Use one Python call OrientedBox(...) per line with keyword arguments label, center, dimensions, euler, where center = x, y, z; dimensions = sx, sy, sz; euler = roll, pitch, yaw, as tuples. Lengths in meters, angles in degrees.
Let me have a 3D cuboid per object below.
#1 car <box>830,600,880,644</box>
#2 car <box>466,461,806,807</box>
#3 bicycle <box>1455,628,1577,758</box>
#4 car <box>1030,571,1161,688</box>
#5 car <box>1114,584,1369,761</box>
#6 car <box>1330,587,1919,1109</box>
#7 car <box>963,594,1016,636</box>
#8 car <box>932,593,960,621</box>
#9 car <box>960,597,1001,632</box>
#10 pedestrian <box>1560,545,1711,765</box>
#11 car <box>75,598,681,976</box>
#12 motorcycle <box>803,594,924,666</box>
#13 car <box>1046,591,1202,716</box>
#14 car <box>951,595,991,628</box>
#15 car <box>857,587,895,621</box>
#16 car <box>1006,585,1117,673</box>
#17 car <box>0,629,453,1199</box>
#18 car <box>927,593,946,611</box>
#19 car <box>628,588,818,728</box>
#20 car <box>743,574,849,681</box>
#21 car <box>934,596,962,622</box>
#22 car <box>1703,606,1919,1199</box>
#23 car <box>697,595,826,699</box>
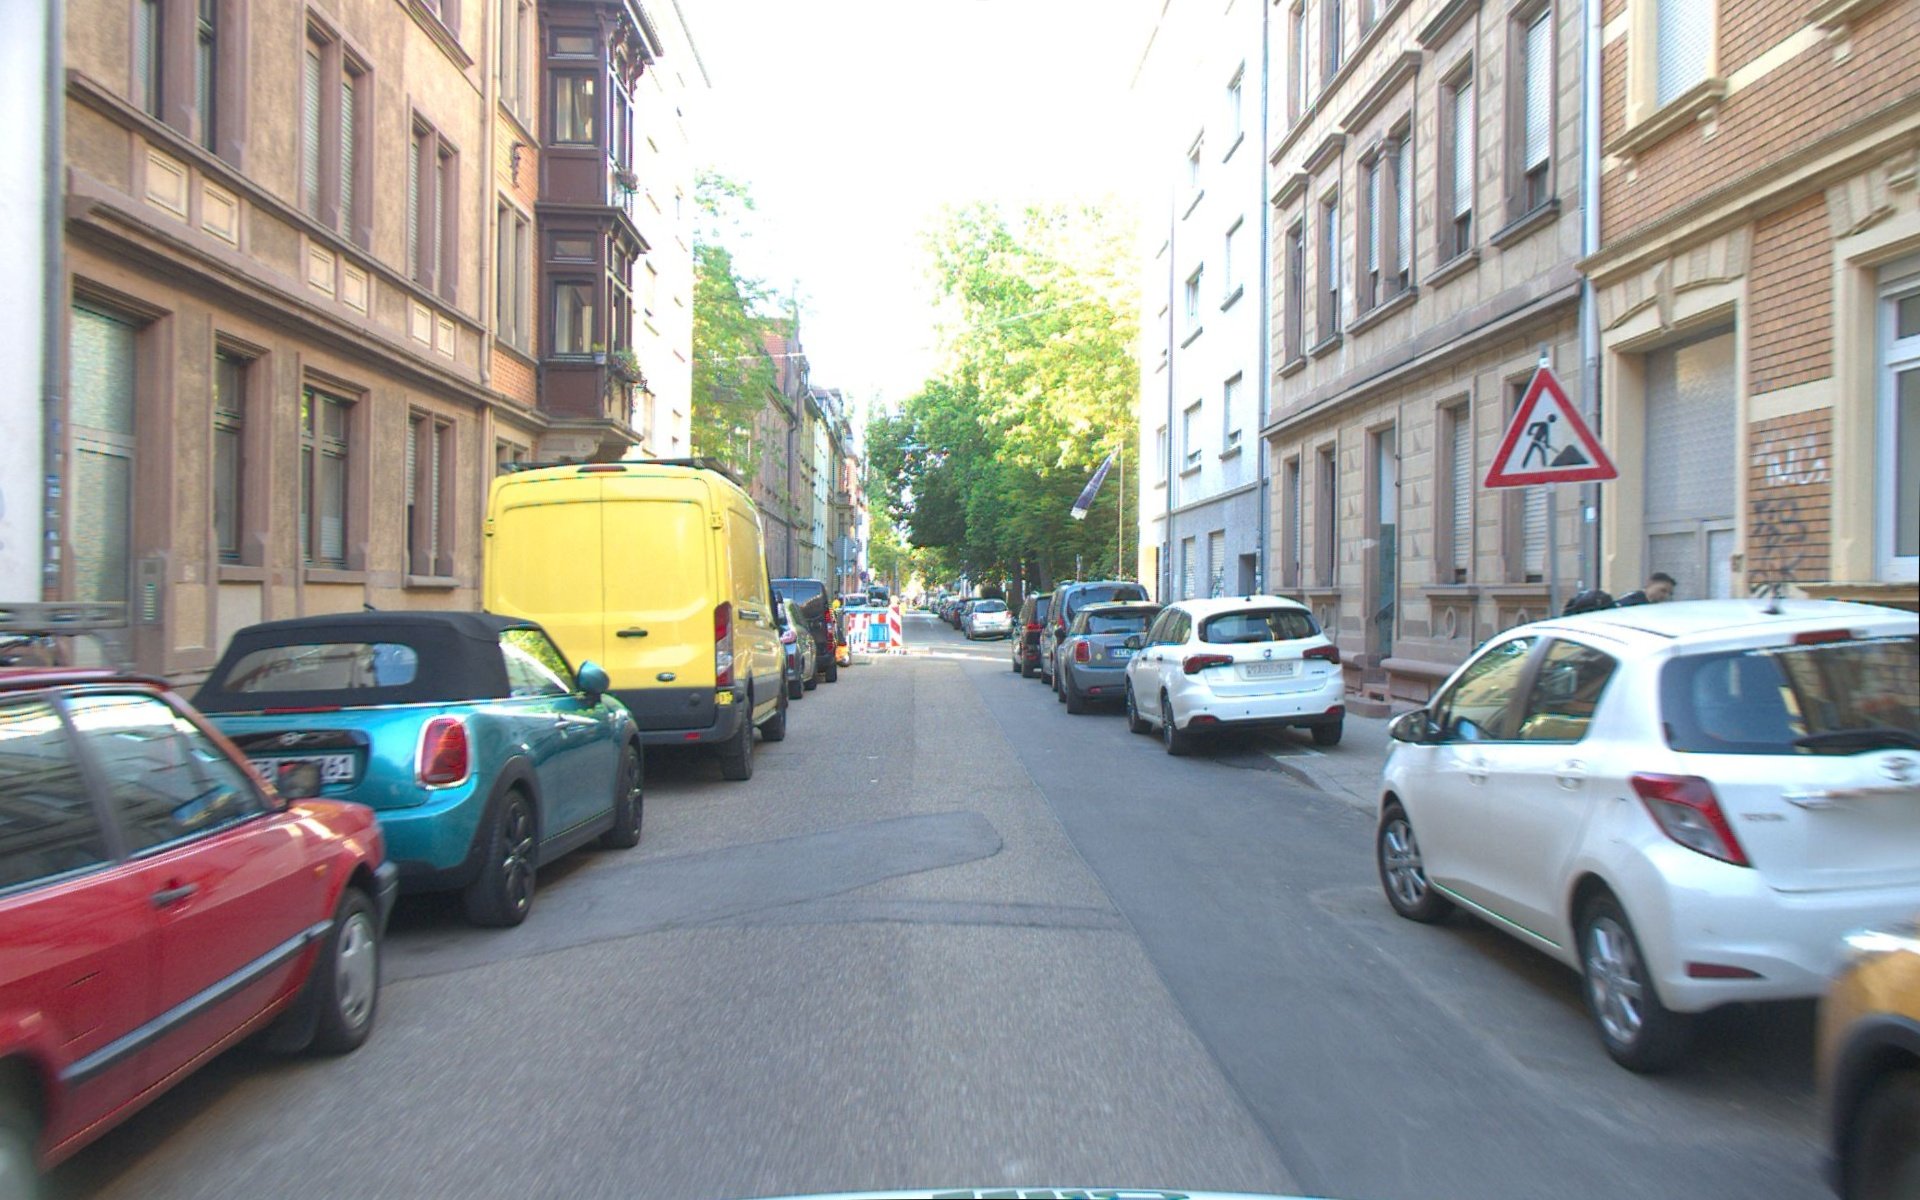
OrientedBox(label="car", center=(-4.361, 0.913, 69.165), dimensions=(1.843, 1.737, 3.999), euler=(-1, 0, -1))
OrientedBox(label="car", center=(-2.736, 0.244, 15.528), dimensions=(2.131, 2.551, 5.876), euler=(-2, 0, -2))
OrientedBox(label="bicycle", center=(5.082, 0.822, 15.201), dimensions=(0.506, 1.084, 1.567), euler=(-2, 0, -2))
OrientedBox(label="car", center=(2.293, 0.451, 29.127), dimensions=(1.718, 1.817, 4.722), euler=(-3, 1, -2))
OrientedBox(label="car", center=(2.869, 0.662, 17.817), dimensions=(1.719, 1.544, 4.441), euler=(-4, 1, -3))
OrientedBox(label="car", center=(3.017, 0.755, 7.179), dimensions=(1.686, 1.506, 4.081), euler=(-4, 0, -2))
OrientedBox(label="car", center=(1.094, 0.562, 63.285), dimensions=(1.690, 1.549, 3.997), euler=(0, 0, -4))
OrientedBox(label="car", center=(-1.143, 0.586, 134.800), dimensions=(2.117, 2.295, 4.523), euler=(0, 0, -3))
OrientedBox(label="car", center=(0.965, 0.679, 79.649), dimensions=(1.804, 1.624, 3.998), euler=(0, 0, -2))
OrientedBox(label="pedestrian", center=(5.296, 0.420, 12.974), dimensions=(0.650, 1.659, 0.866), euler=(-1, -1, -43))
OrientedBox(label="car", center=(-2.763, 0.779, 8.853), dimensions=(1.683, 1.437, 3.898), euler=(-5, 0, 1))
OrientedBox(label="motorcycle", center=(-2.095, 0.645, 35.873), dimensions=(2.484, 1.508, 0.895), euler=(1, 0, -29))
OrientedBox(label="car", center=(2.250, 0.681, 23.687), dimensions=(1.718, 1.478, 4.287), euler=(-4, 1, 0))
OrientedBox(label="car", center=(0.517, 0.587, 84.467), dimensions=(1.856, 1.654, 3.998), euler=(0, 0, -2))
OrientedBox(label="car", center=(-5.410, 0.250, 107.164), dimensions=(2.262, 2.151, 5.169), euler=(0, 0, -1))
OrientedBox(label="car", center=(2.001, 0.567, 33.789), dimensions=(1.862, 1.669, 4.389), euler=(0, 0, -2))
OrientedBox(label="car", center=(-2.636, 0.825, 4.318), dimensions=(1.585, 1.349, 3.611), euler=(-3, 0, -2))
OrientedBox(label="car", center=(-2.448, 0.197, 172.523), dimensions=(1.953, 1.758, 3.998), euler=(0, 0, -2))
OrientedBox(label="car", center=(-2.869, 0.650, 20.843), dimensions=(1.953, 1.579, 3.998), euler=(0, 0, -2))
OrientedBox(label="car", center=(-2.933, 0.464, 30.211), dimensions=(1.783, 1.797, 4.331), euler=(0, 0, -4))
OrientedBox(label="car", center=(-0.849, 0.624, 115.500), dimensions=(1.793, 1.733, 3.998), euler=(0, 0, -3))
OrientedBox(label="car", center=(2.883, 0.733, 2.202), dimensions=(1.719, 1.471, 4.066), euler=(-3, 0, -3))
OrientedBox(label="car", center=(-3.021, 0.677, 25.767), dimensions=(1.643, 1.475, 3.643), euler=(1, 0, -2))
